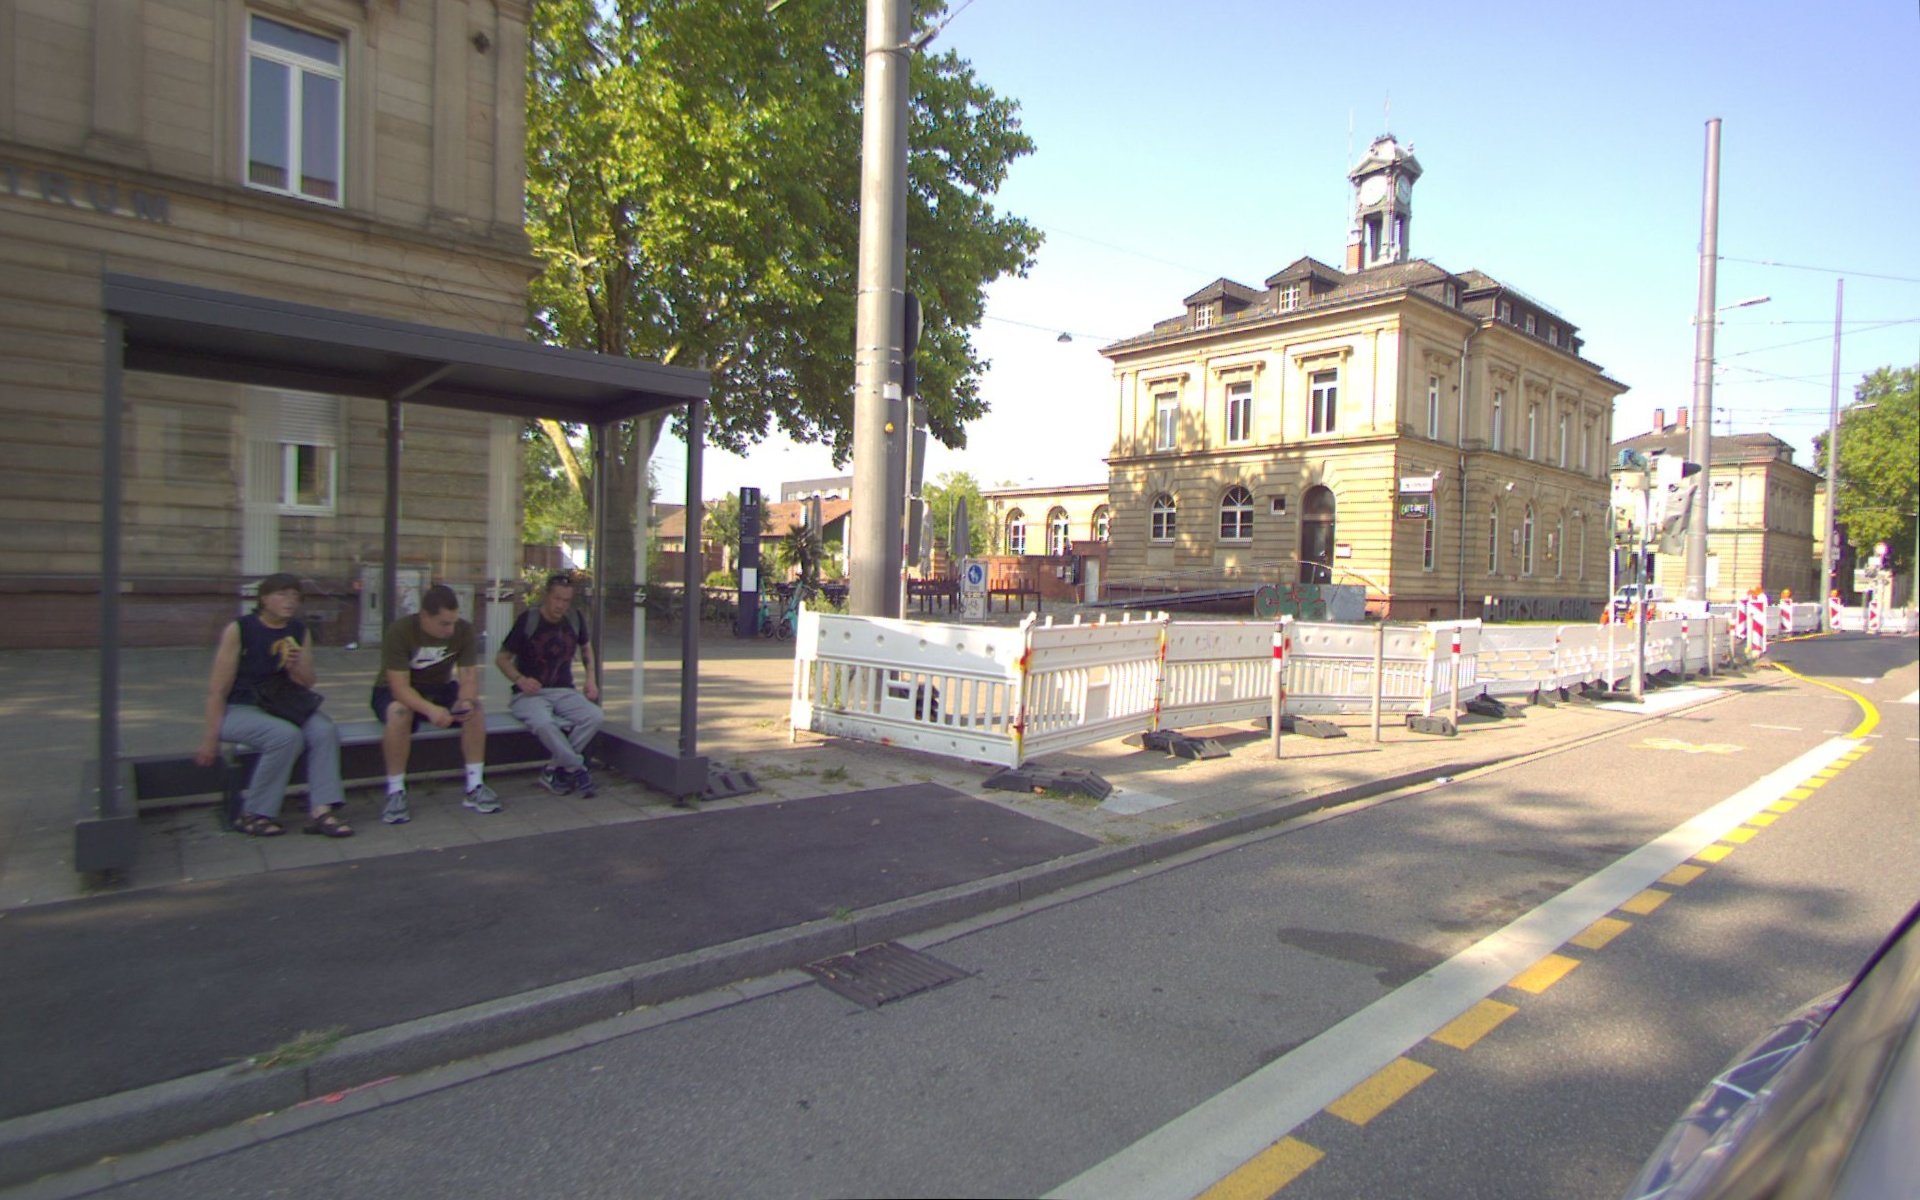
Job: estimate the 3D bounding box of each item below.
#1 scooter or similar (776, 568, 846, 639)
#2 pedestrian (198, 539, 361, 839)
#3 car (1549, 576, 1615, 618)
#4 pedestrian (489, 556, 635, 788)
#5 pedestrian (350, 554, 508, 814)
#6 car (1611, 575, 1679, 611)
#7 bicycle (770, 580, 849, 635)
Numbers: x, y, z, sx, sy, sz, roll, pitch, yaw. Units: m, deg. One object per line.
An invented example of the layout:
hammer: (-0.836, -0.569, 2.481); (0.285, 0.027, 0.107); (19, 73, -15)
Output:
scooter or similar: (-2.712, 0.068, 18.417); (1.150, 1.243, 0.427); (1, 2, -34)
pedestrian: (-3.461, 0.399, 5.138); (0.601, 1.383, 0.752); (-1, 1, -41)
car: (39.265, -0.224, 63.804); (5.399, 2.452, 2.260); (0, 3, -45)
pedestrian: (-2.383, 0.386, 6.043); (0.601, 1.277, 0.742); (-1, 1, -41)
pedestrian: (-2.864, 0.402, 5.448); (0.601, 1.277, 0.742); (-1, 1, -41)
car: (40.561, -0.393, 59.889); (4.144, 1.805, 1.911); (3, 2, -36)
bicycle: (-2.956, 0.163, 20.004); (0.489, 1.012, 1.798); (3, 0, 30)
